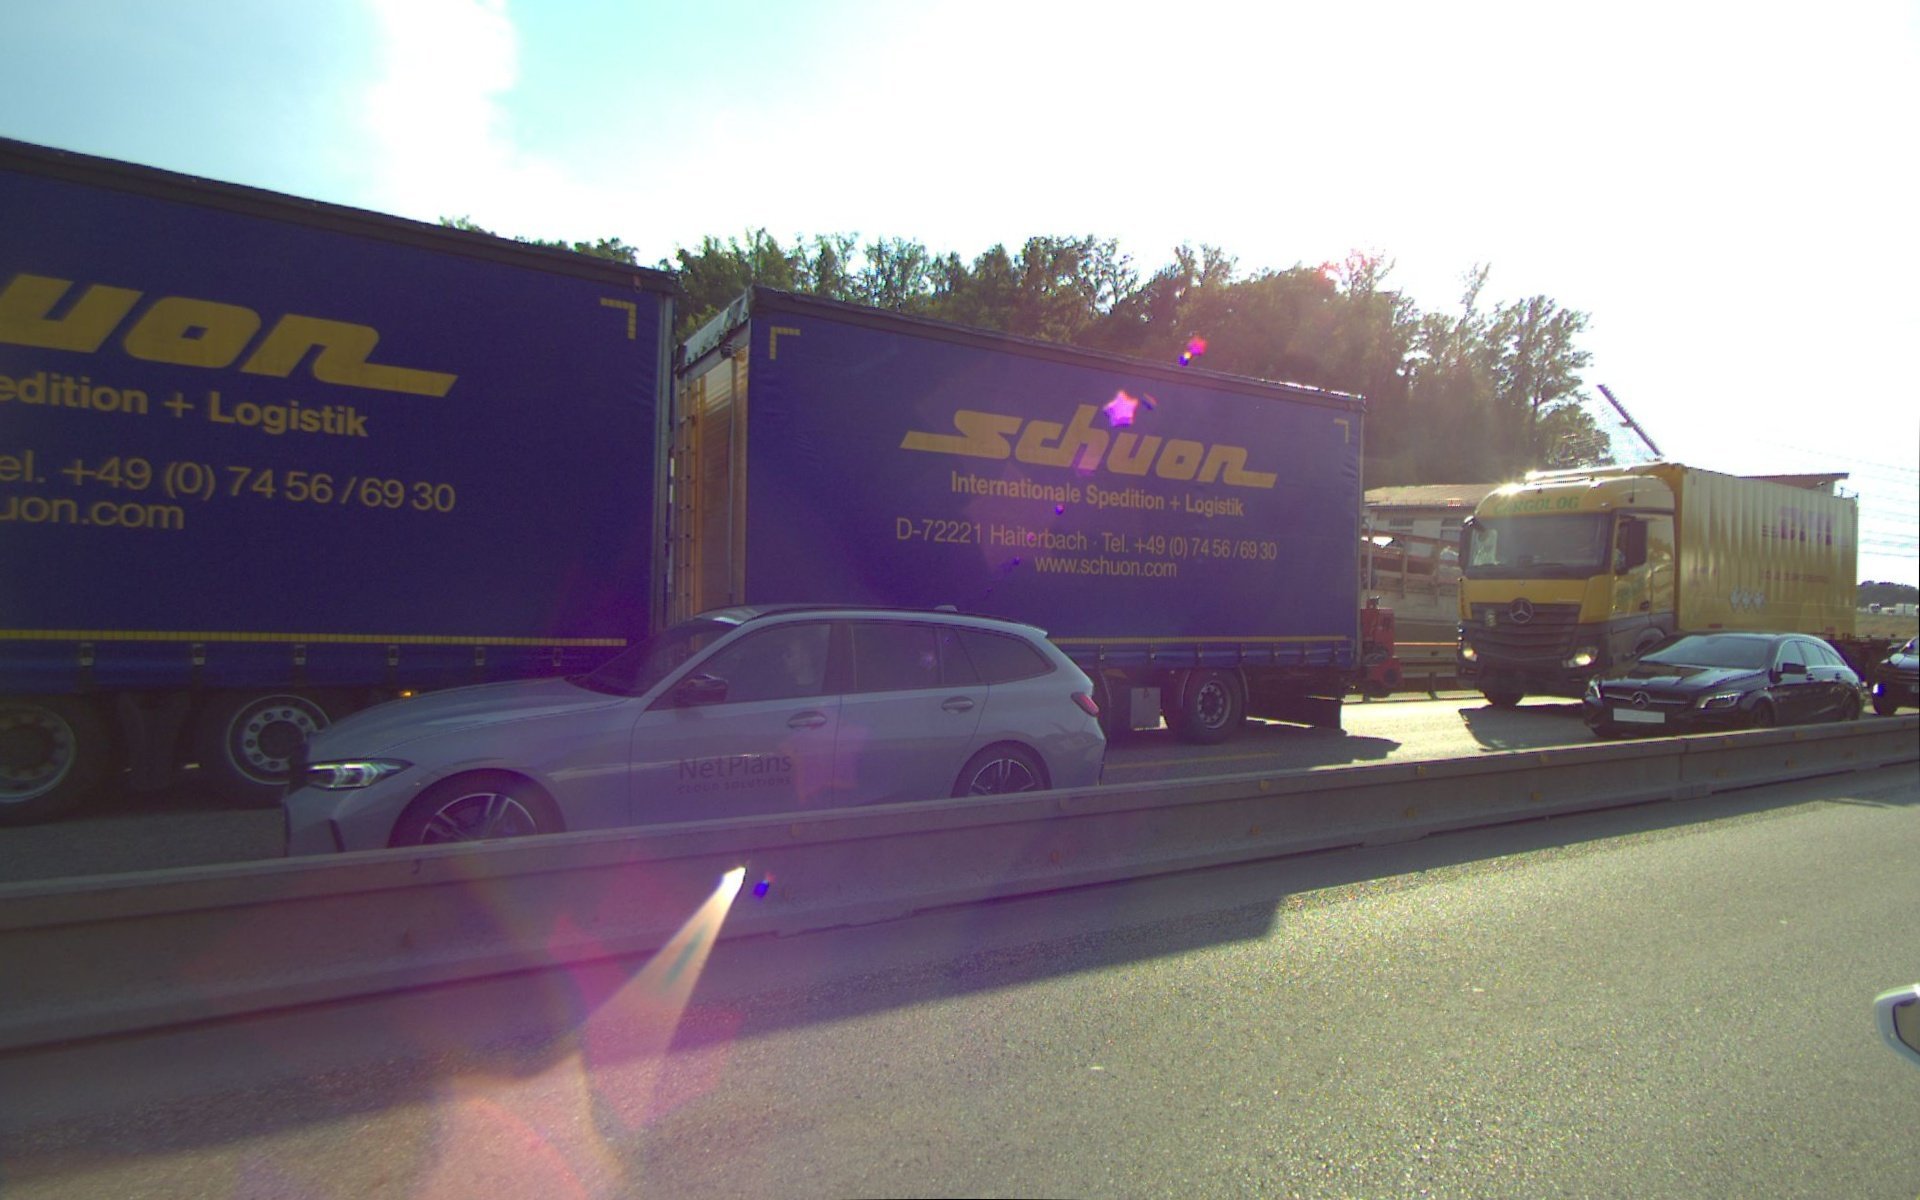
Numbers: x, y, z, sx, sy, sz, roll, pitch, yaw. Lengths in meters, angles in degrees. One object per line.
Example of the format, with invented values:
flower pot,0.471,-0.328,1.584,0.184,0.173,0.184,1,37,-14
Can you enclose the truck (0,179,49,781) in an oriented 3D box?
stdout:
truck,-8.973,-0.904,5.165,5.727,4.195,2.688,3,-1,-30

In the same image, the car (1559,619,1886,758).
car,9.875,1.078,12.918,4.564,1.472,1.788,3,-1,-31

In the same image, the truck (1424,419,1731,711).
truck,10.389,-0.418,16.887,4.349,4.252,2.679,3,-1,-32

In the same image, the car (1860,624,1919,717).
car,17.877,1.273,17.790,4.243,1.528,1.708,3,-1,-31

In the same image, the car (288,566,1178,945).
car,-1.085,0.725,5.985,4.669,1.517,1.780,3,-1,-30

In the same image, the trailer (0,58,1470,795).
trailer,-1.350,-0.741,9.719,16.558,4.189,2.701,3,-1,-31

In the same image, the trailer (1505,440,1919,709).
trailer,17.344,-0.066,21.238,15.819,4.259,2.687,3,-1,-32
